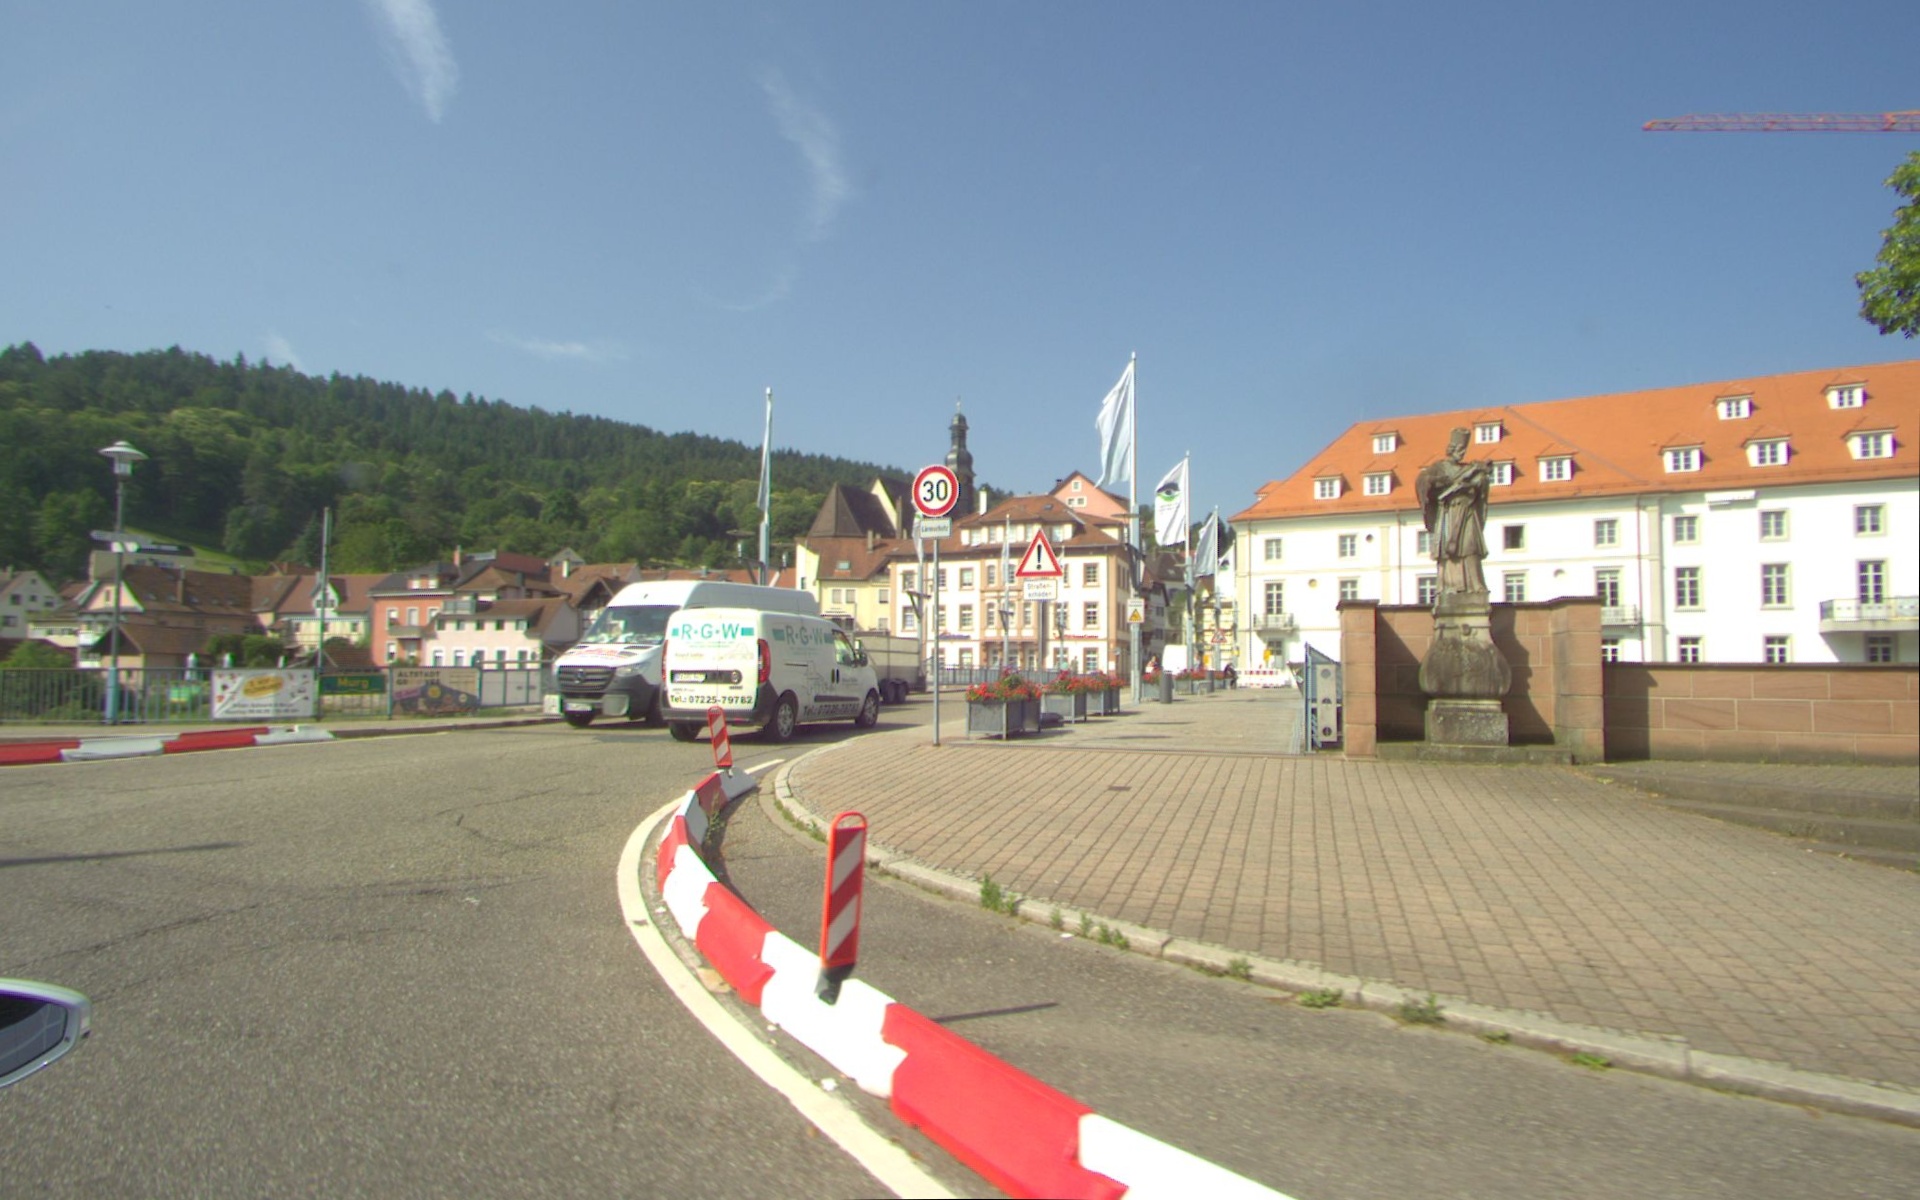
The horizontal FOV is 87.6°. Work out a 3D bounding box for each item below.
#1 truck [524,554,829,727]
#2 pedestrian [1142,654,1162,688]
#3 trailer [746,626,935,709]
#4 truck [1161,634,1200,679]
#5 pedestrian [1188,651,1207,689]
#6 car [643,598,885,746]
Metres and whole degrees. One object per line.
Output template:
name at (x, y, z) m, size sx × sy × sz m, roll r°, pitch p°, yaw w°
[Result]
truck at (-5.062, 0.871, 19.535) m, size 2.074 × 2.732 × 7.127 m, roll -1°, pitch -4°, yaw 18°
pedestrian at (10.064, 3.739, 52.590) m, size 0.740 × 1.744 × 0.721 m, roll 3°, pitch -3°, yaw -43°
trailer at (-2.828, 1.683, 25.540) m, size 2.573 × 1.850 × 5.631 m, roll -1°, pitch -3°, yaw 20°
truck at (13.409, 3.457, 60.796) m, size 1.834 × 2.616 × 4.257 m, roll 0°, pitch -4°, yaw 19°
pedestrian at (10.431, 3.067, 44.002) m, size 0.557 × 1.638 × 0.663 m, roll -1°, pitch -3°, yaw 43°
car at (-2.805, 1.058, 15.447) m, size 1.817 × 1.929 × 4.312 m, roll 0°, pitch -3°, yaw 17°
